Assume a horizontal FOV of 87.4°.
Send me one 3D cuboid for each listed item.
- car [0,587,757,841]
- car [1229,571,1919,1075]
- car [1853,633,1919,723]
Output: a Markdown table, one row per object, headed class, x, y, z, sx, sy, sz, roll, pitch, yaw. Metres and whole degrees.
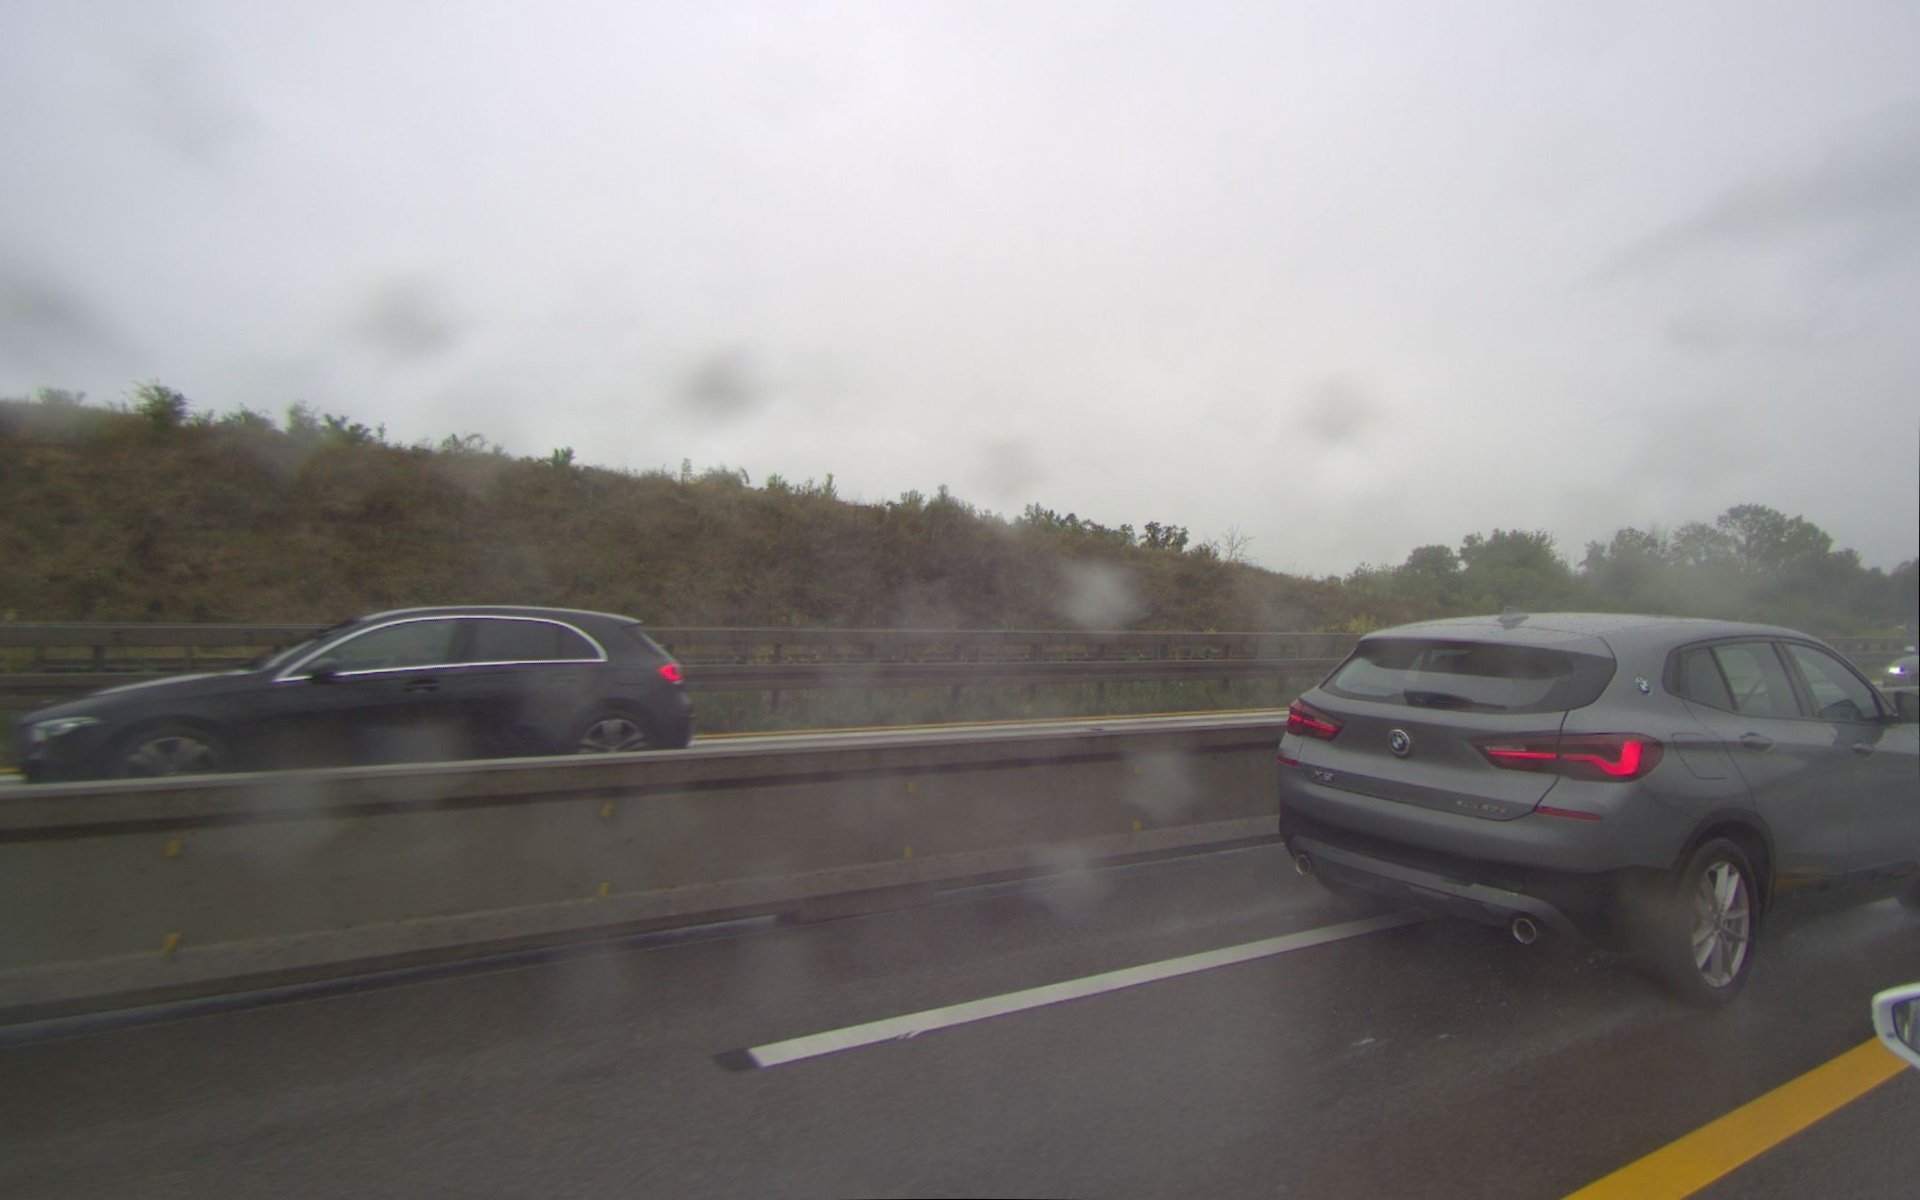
| class | x | y | z | sx | sy | sz | roll | pitch | yaw |
| --- | --- | --- | --- | --- | --- | --- | --- | --- | --- |
| car | -4.105 | 0.726 | 7.774 | 4.642 | 1.480 | 1.752 | 2 | 0 | -31 |
| car | 3.741 | 0.827 | 5.213 | 4.789 | 1.619 | 1.693 | 2 | -3 | -31 |
| car | 19.120 | 1.472 | 19.114 | 4.893 | 1.548 | 1.752 | 2 | 0 | -31 |
